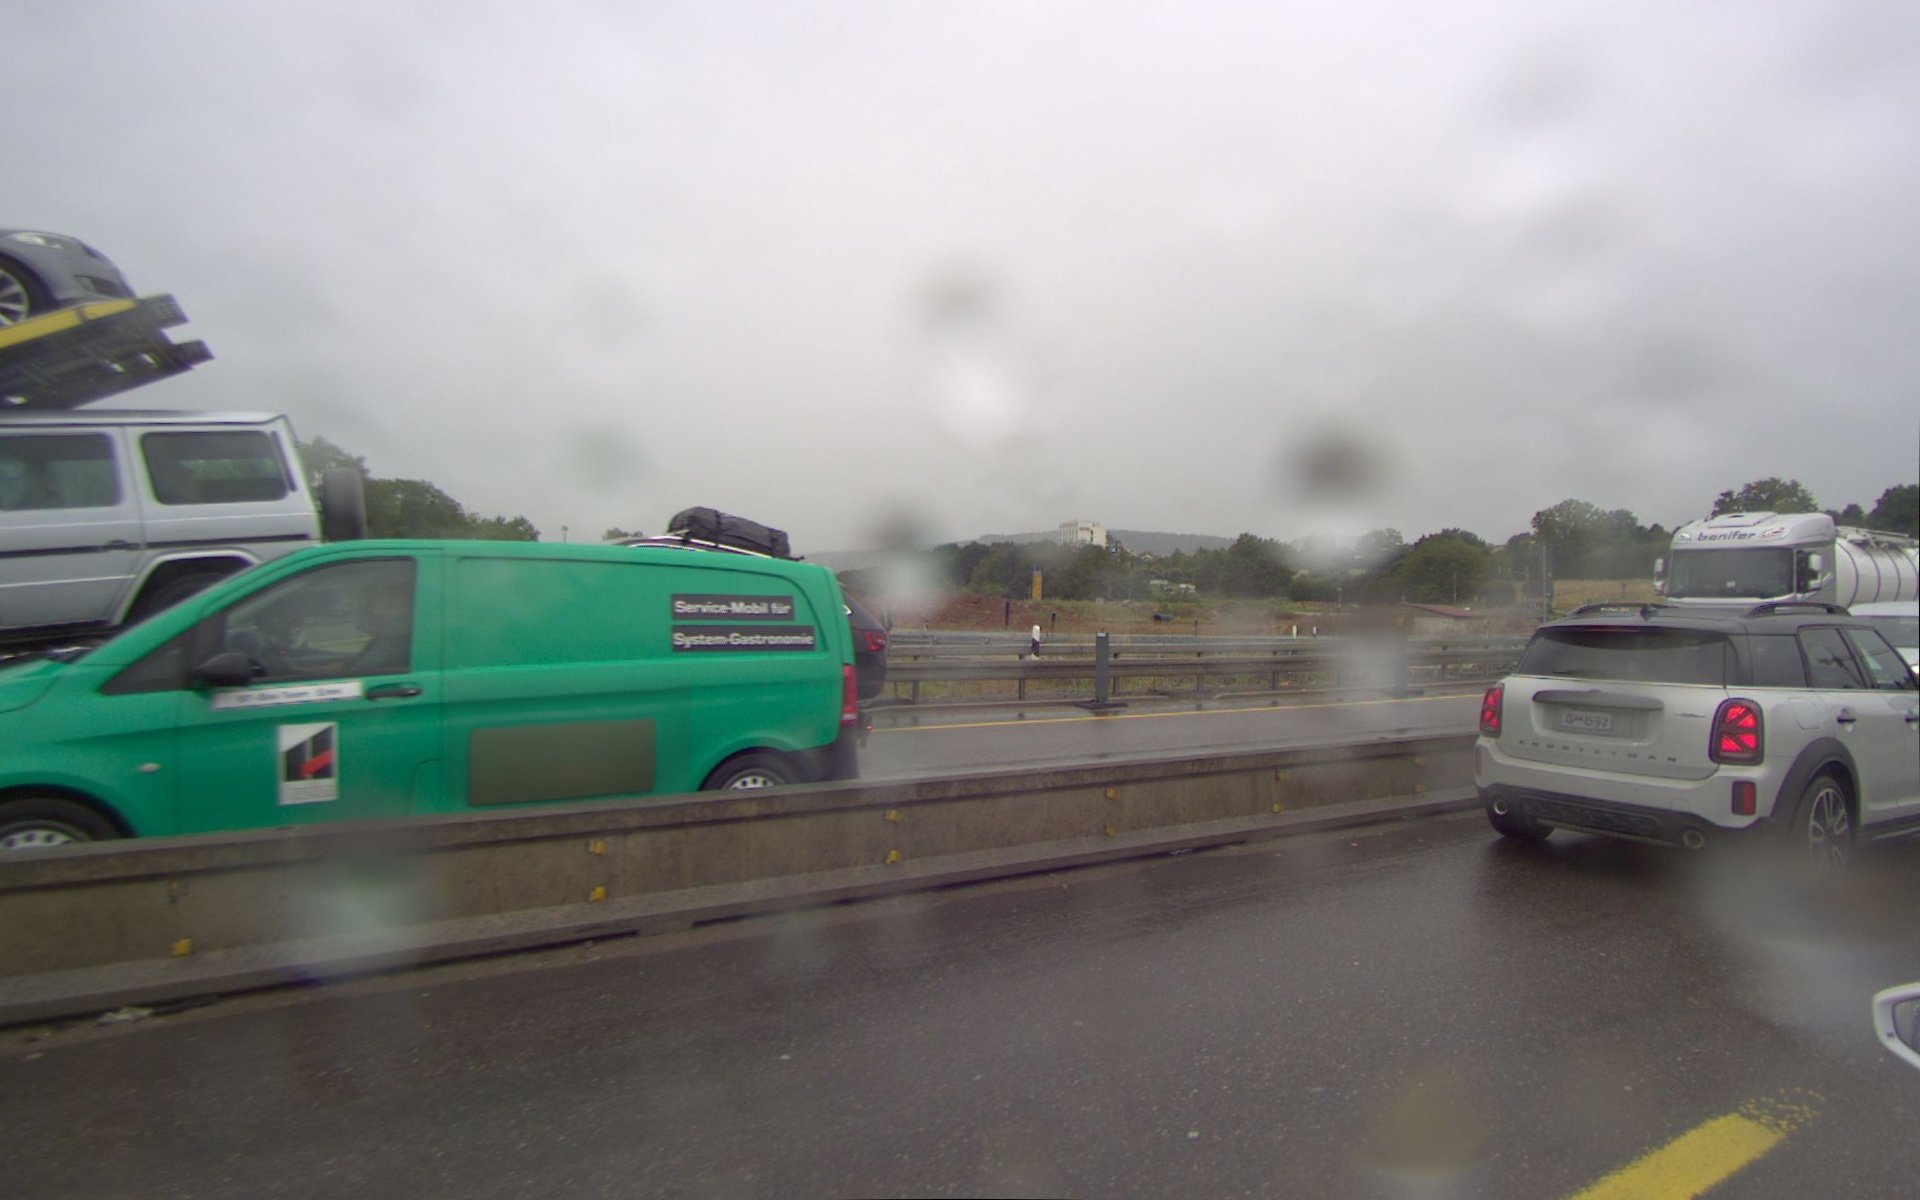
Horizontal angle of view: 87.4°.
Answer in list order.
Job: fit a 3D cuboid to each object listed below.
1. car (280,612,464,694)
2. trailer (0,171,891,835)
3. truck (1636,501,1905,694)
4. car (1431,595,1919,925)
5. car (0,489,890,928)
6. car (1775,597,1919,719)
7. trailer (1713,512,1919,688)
[{"bbox_3d":[-16.540,1.413,28.596,2.029,2.090,4.846,1,-1,6],"label":"car"},{"bbox_3d":[-7.860,-0.621,6.629,15.181,4.096,2.736,1,-1,-31],"label":"trailer"},{"bbox_3d":[17.982,0.009,22.186,6.520,3.726,2.607,1,0,-32],"label":"truck"},{"bbox_3d":[5.309,0.804,6.823,4.259,1.622,1.806,1,0,-32],"label":"car"},{"bbox_3d":[-2.917,0.472,5.824,4.633,1.782,1.984,1,-1,-31],"label":"car"},{"bbox_3d":[15.669,0.904,16.838,4.115,1.824,1.856,1,-1,-31],"label":"car"},{"bbox_3d":[23.351,0.098,25.505,11.868,3.726,2.607,1,0,-32],"label":"trailer"}]
